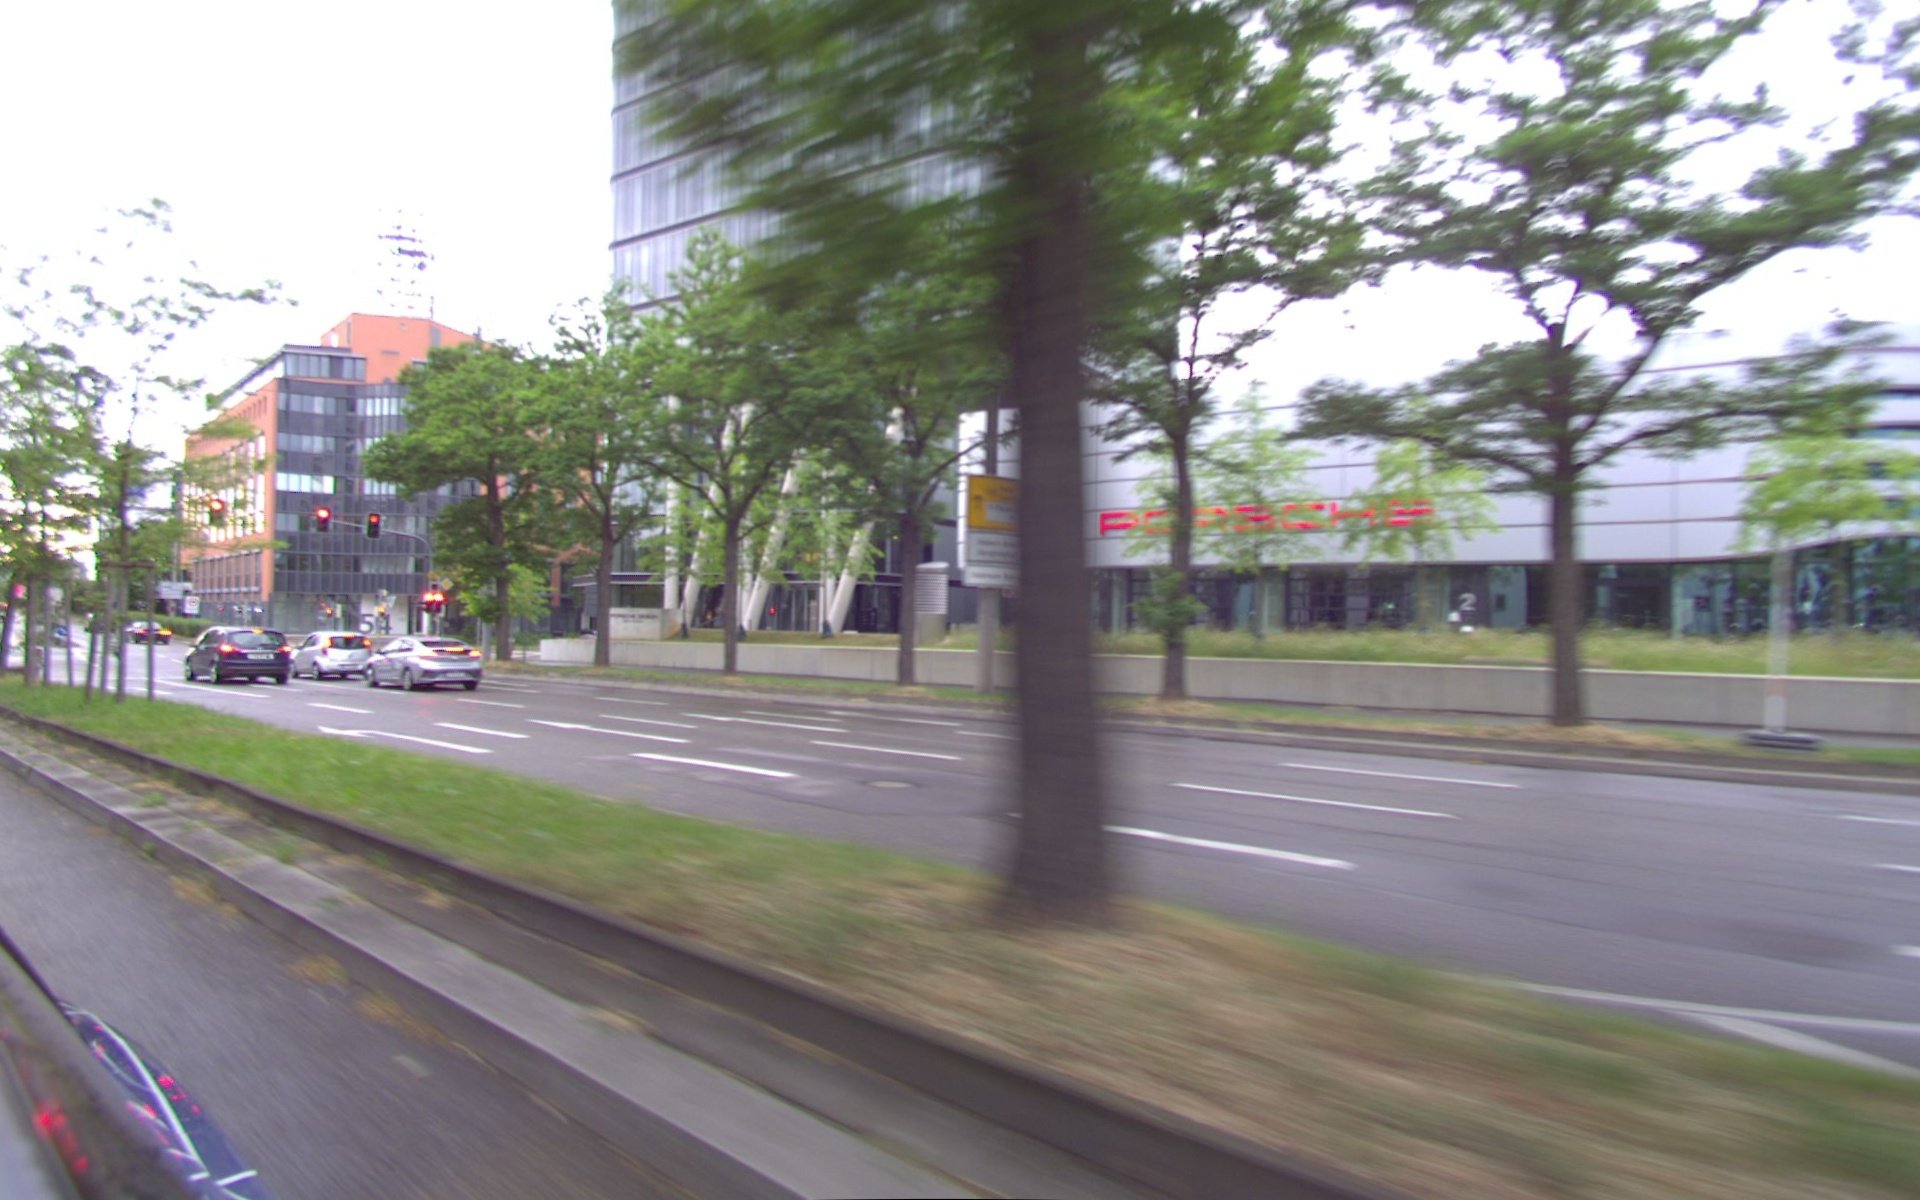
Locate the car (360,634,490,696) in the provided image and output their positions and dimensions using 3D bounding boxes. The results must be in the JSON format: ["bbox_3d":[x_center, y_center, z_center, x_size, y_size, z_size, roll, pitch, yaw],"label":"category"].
[{"bbox_3d":[-14.778,1.735,27.875,3.998,1.464,1.869,-1,0,41],"label":"car"}]

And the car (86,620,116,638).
[{"bbox_3d":[-74.825,2.538,88.126,1.758,1.464,4.003,-1,0,-44],"label":"car"}]

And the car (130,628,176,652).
[{"bbox_3d":[-54.931,2.707,68.854,3.998,1.464,1.760,-1,0,41],"label":"car"}]

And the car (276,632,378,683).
[{"bbox_3d":[-20.883,1.840,33.328,3.998,1.464,1.760,-1,0,41],"label":"car"}]

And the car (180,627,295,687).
[{"bbox_3d":[-21.283,1.643,29.760,4.172,1.602,1.822,-1,-3,41],"label":"car"}]
